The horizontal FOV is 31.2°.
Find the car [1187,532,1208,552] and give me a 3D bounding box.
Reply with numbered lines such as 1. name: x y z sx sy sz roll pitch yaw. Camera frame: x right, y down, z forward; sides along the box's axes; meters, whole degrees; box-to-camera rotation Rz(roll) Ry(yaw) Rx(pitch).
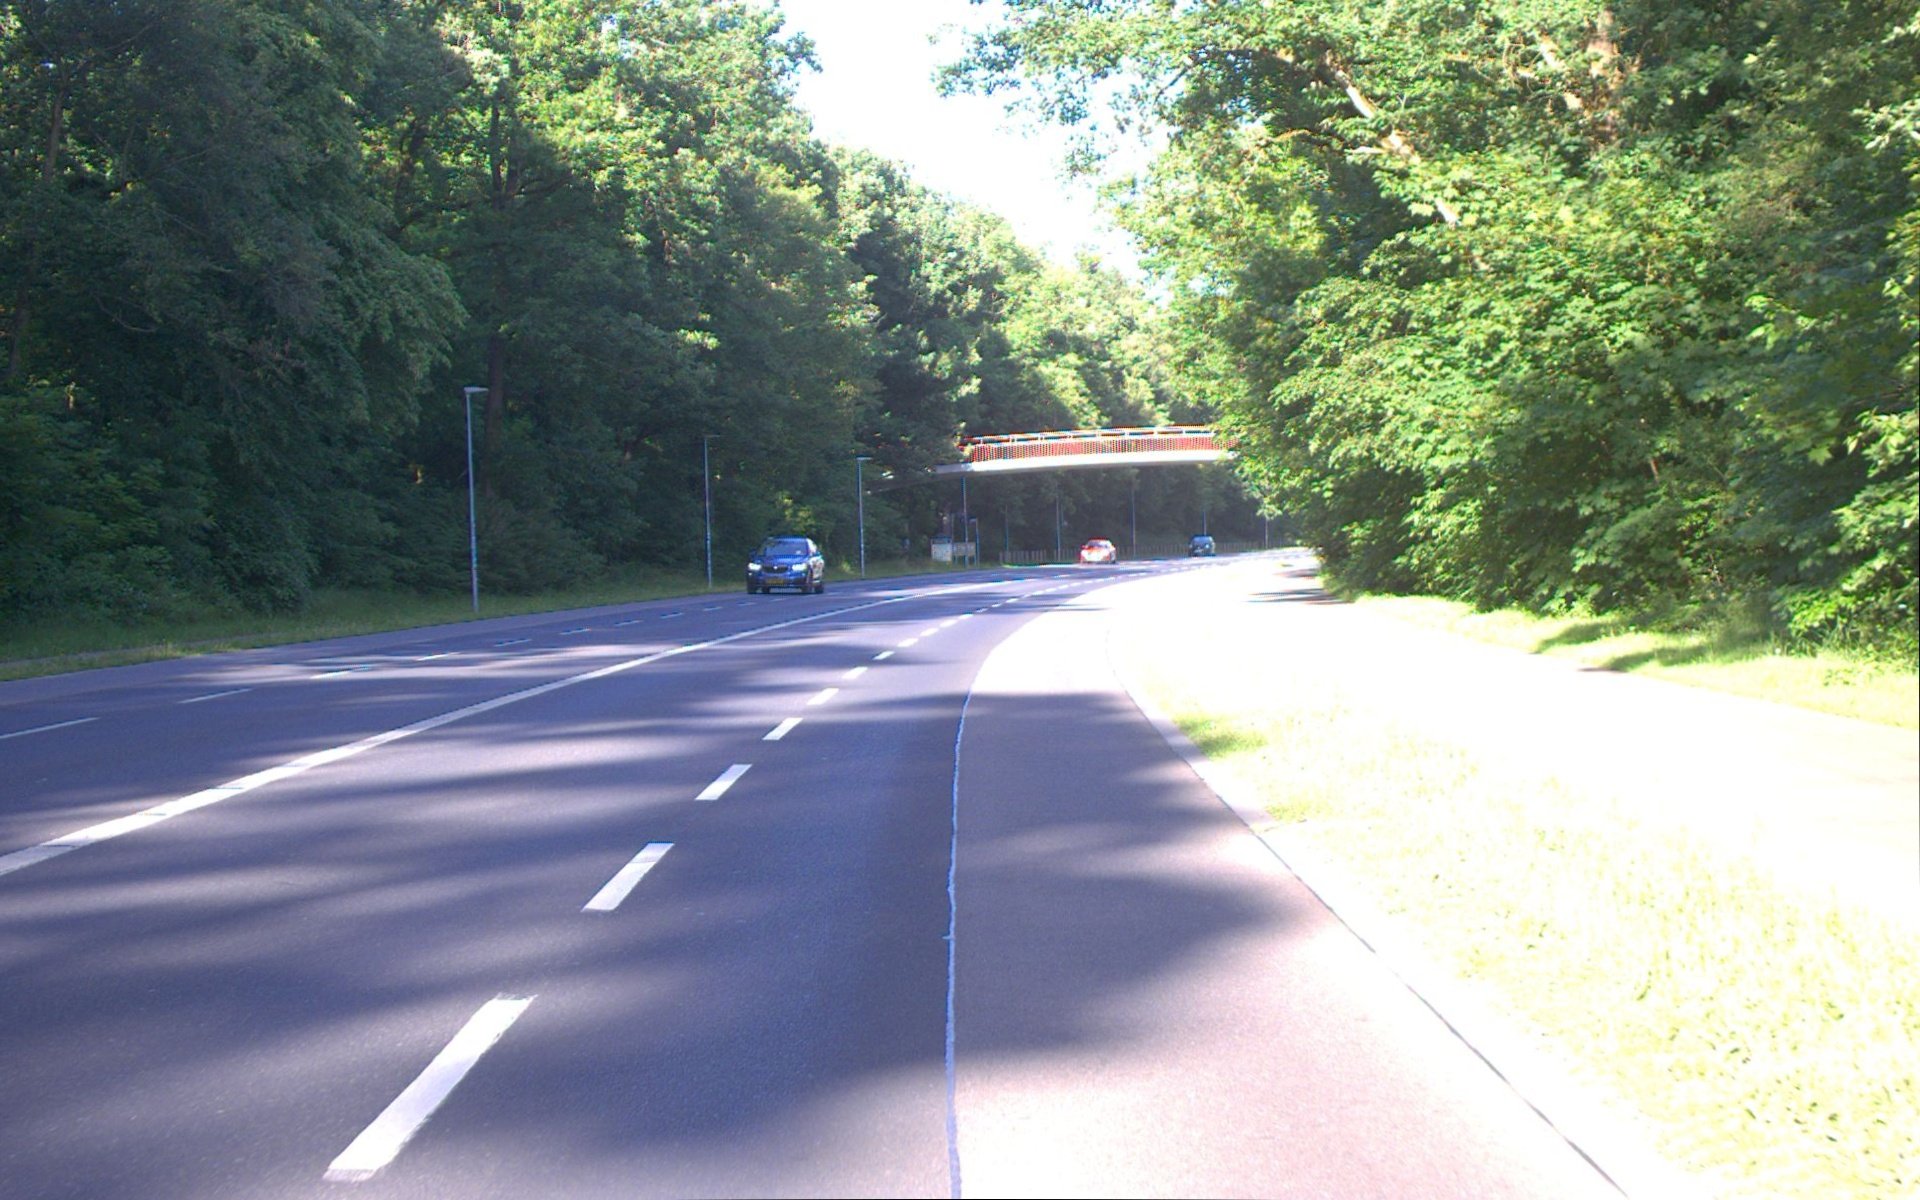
1. car: 17.277 -4.223 249.974 1.495 1.439 3.500 -1 1 5

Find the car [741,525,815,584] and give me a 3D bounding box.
1. car: -5.227 -1.325 99.175 1.807 1.657 4.522 -1 1 1

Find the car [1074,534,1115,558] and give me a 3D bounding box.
1. car: 7.941 -3.197 203.133 1.711 1.418 4.128 0 1 12
